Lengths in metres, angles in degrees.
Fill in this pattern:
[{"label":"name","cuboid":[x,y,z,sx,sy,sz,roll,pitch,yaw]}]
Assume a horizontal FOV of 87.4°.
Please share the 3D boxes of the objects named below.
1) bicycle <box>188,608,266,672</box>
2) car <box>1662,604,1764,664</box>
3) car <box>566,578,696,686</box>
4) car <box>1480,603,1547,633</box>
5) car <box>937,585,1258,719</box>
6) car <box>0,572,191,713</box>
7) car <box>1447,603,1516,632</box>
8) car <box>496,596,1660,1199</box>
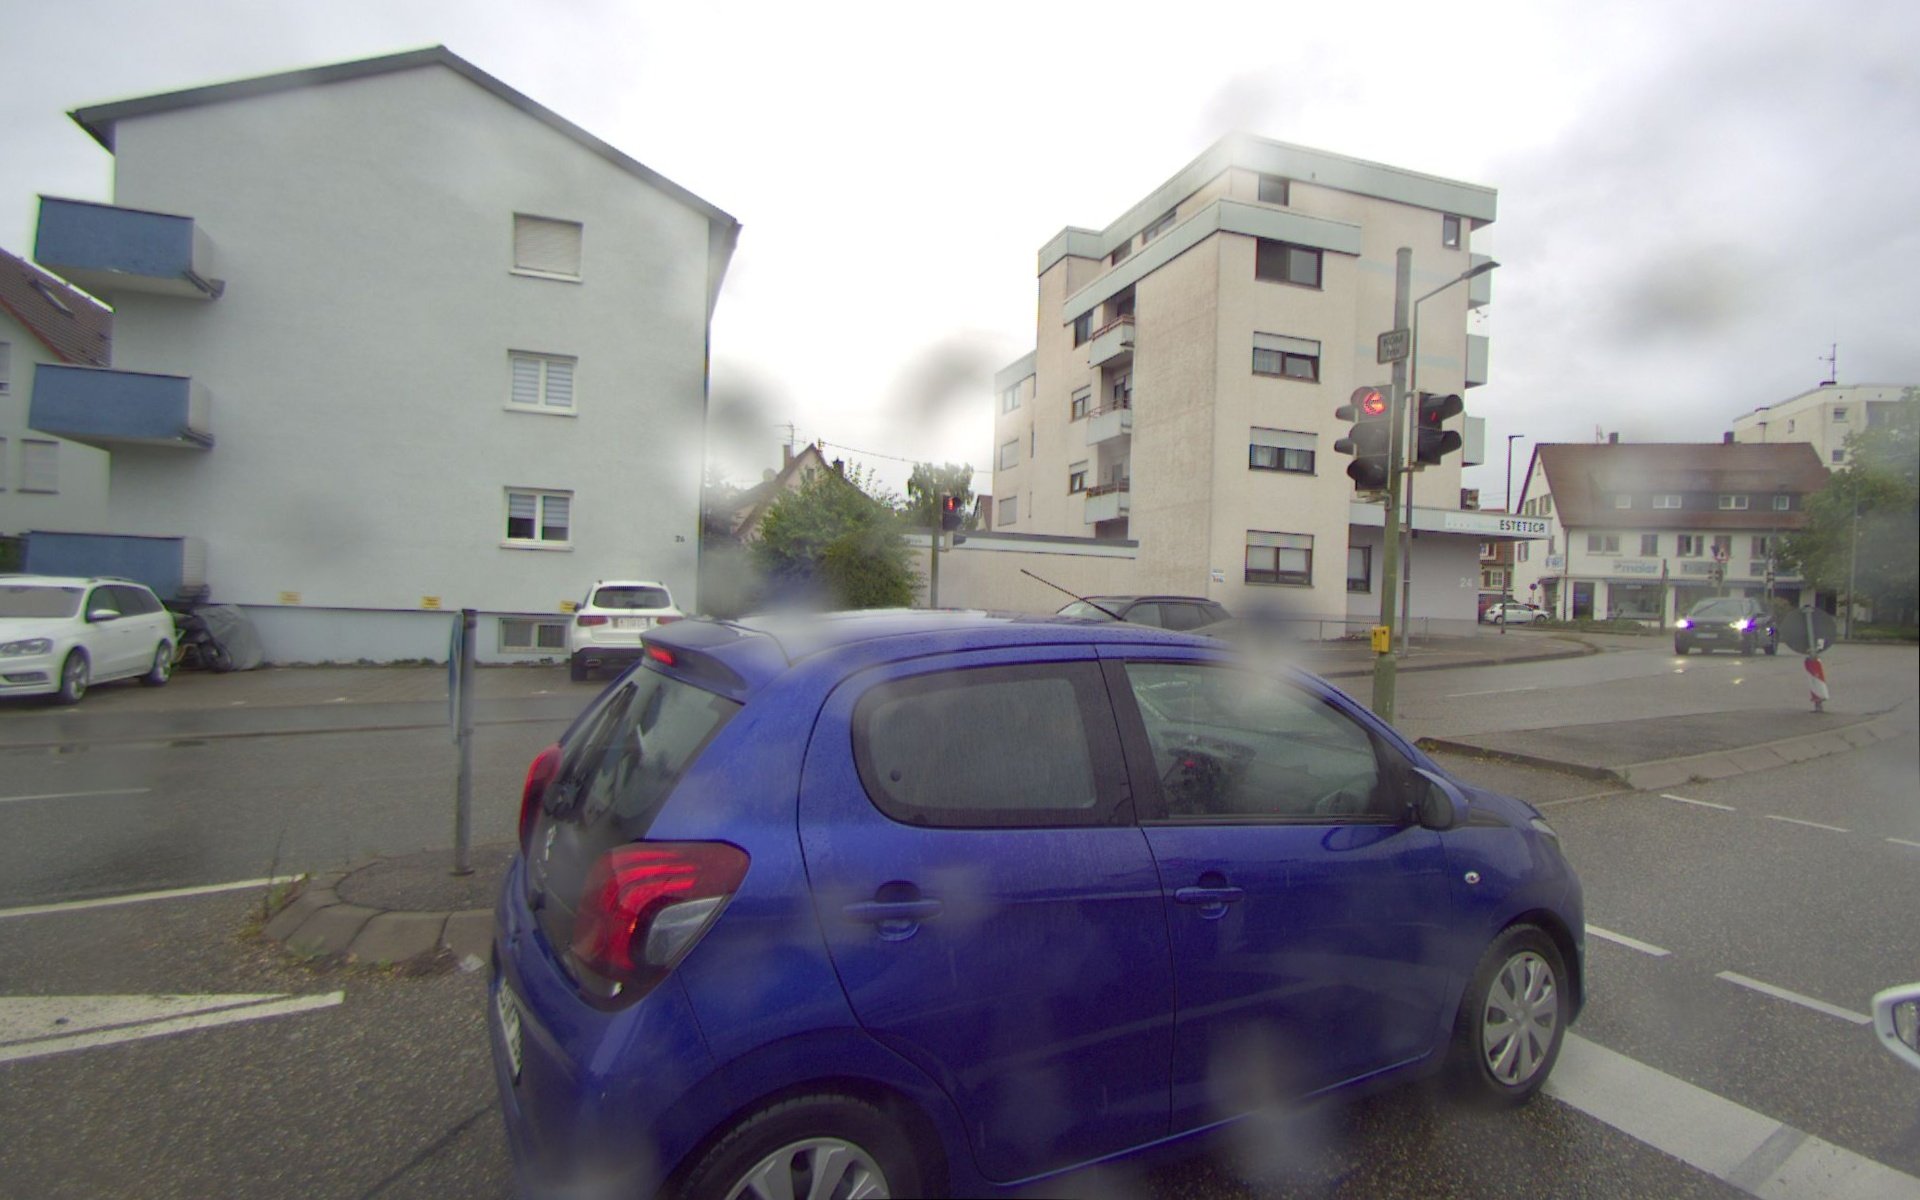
[{"label":"bicycle","cuboid":[-12.695,0.685,17.407,1.053,1.067,0.345,0,1,-30]},{"label":"car","cuboid":[22.223,0.988,29.603,1.859,1.618,4.159,2,0,44]},{"label":"car","cuboid":[-5.764,0.506,17.562,1.884,1.637,3.982,2,0,-19]},{"label":"car","cuboid":[37.918,1.224,68.885,3.611,1.946,1.889,2,0,14]},{"label":"car","cuboid":[1.883,0.639,13.407,3.960,1.532,1.954,2,0,-35]},{"label":"car","cuboid":[-11.482,0.453,12.492,1.854,1.480,4.732,1,-1,-23]},{"label":"car","cuboid":[37.210,1.229,71.715,3.987,1.868,1.889,2,0,14]},{"label":"car","cuboid":[0.469,0.738,3.088,3.324,1.432,1.498,1,1,-30]}]
